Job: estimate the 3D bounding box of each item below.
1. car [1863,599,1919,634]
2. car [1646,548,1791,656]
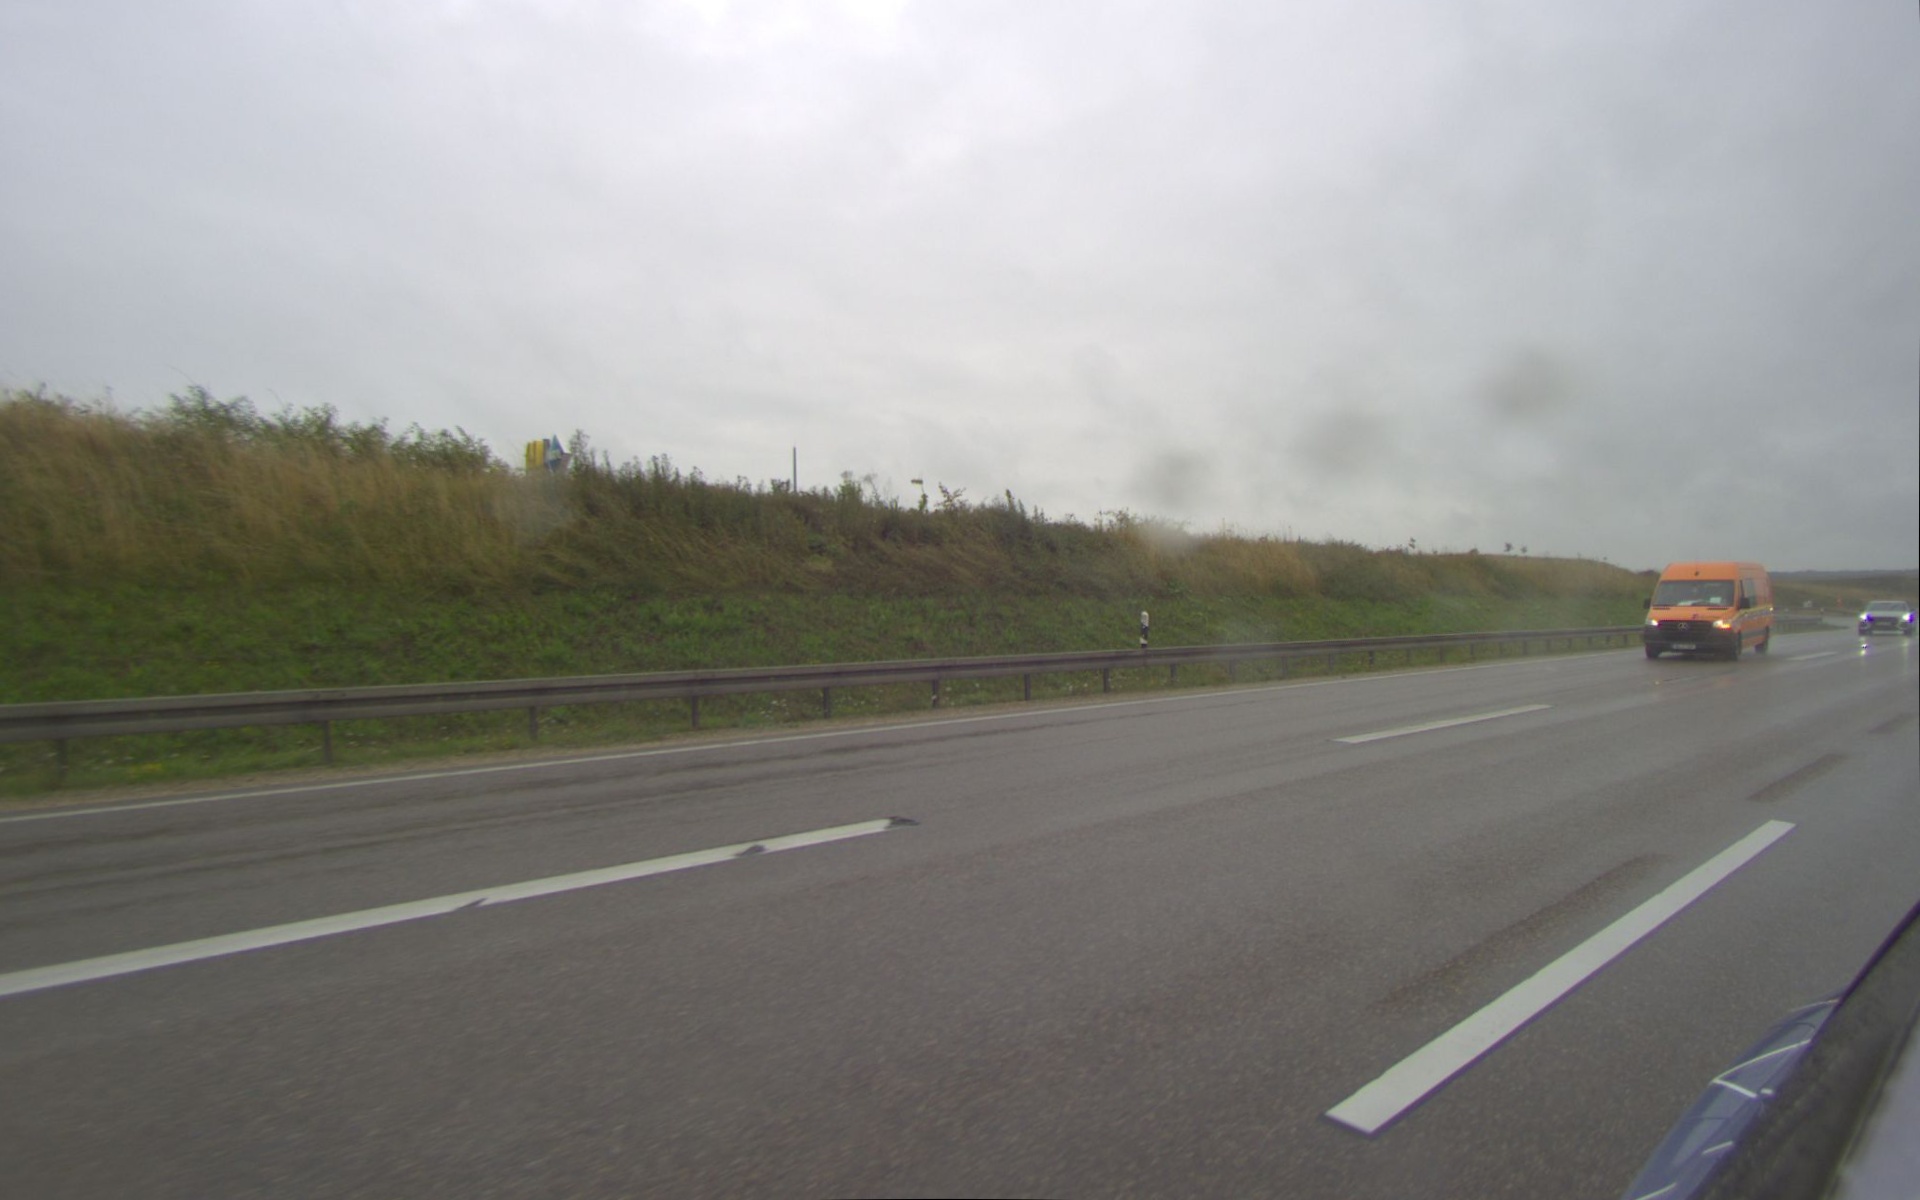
[{"bbox_3d":[43.873,0.746,47.480,4.403,1.504,1.910,0,1,-44],"label":"car"},{"bbox_3d":[21.002,0.058,27.870,6.772,2.649,2.062,0,-1,-44],"label":"car"}]
